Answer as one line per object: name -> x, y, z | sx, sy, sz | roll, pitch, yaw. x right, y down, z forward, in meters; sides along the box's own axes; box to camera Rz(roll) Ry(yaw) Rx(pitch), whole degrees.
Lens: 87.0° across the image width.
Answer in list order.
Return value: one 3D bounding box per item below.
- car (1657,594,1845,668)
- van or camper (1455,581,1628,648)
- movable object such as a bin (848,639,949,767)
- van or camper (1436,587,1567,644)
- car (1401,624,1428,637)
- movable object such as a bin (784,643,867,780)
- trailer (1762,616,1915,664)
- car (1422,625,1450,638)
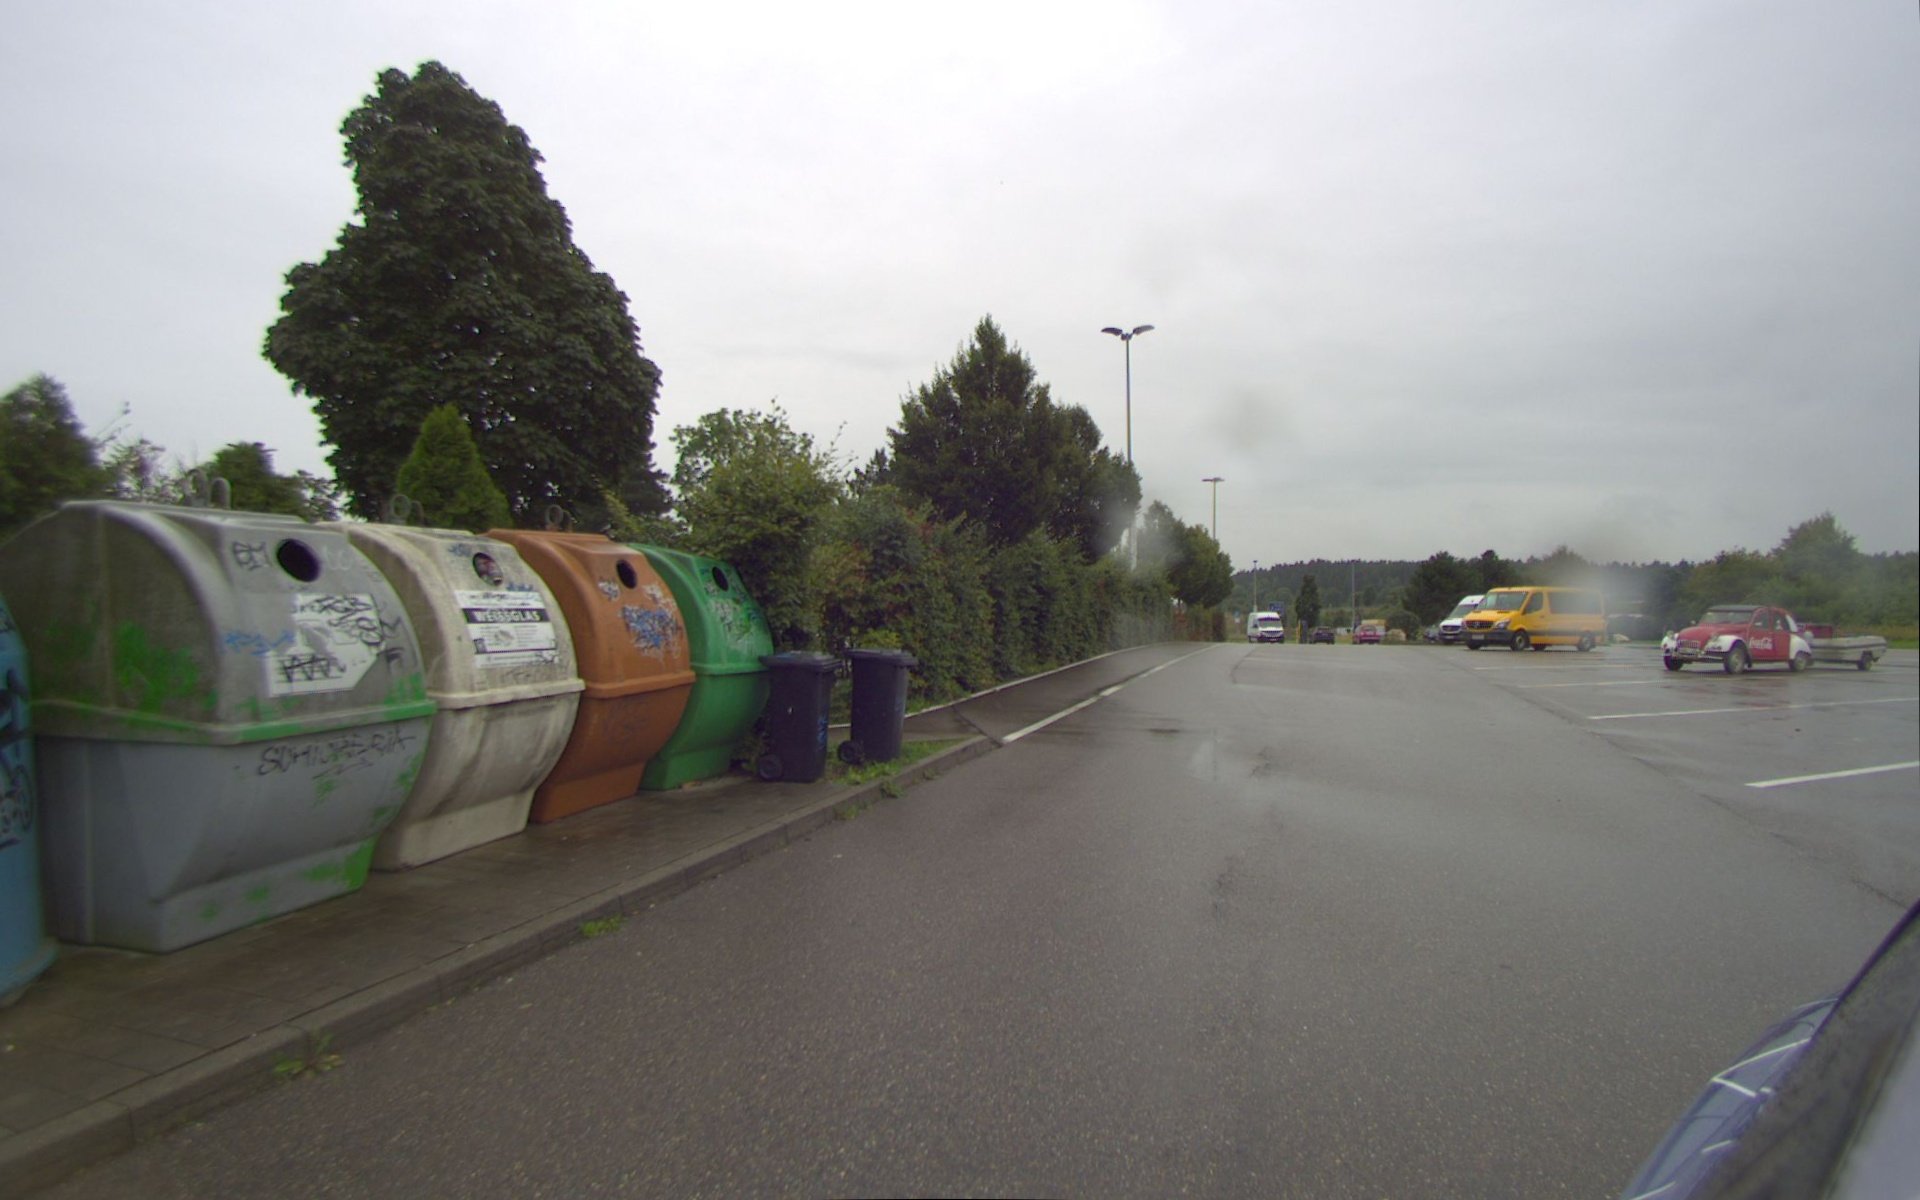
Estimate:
car -> 17.968, 0.671, 22.997 | 3.971, 1.575, 1.553 | 0, 0, -21
van or camper -> 21.008, 0.490, 36.494 | 6.284, 2.275, 2.138 | 0, 0, -24
movable object such as a bin -> -0.495, 0.798, 8.098 | 0.546, 0.932, 0.630 | 1, 0, -37
van or camper -> 27.427, 0.760, 51.179 | 6.921, 2.749, 2.004 | 0, 1, -24
car -> 41.245, 2.791, 91.889 | 1.685, 1.013, 3.749 | 1, 0, 15
movable object such as a bin -> -0.986, 0.792, 7.404 | 0.408, 0.932, 0.495 | 1, 0, -37
trailer -> 21.159, 0.956, 24.395 | 2.966, 1.081, 1.592 | 1, -1, -21
car -> 42.957, 2.791, 91.363 | 1.685, 1.013, 3.749 | 1, 0, 15
